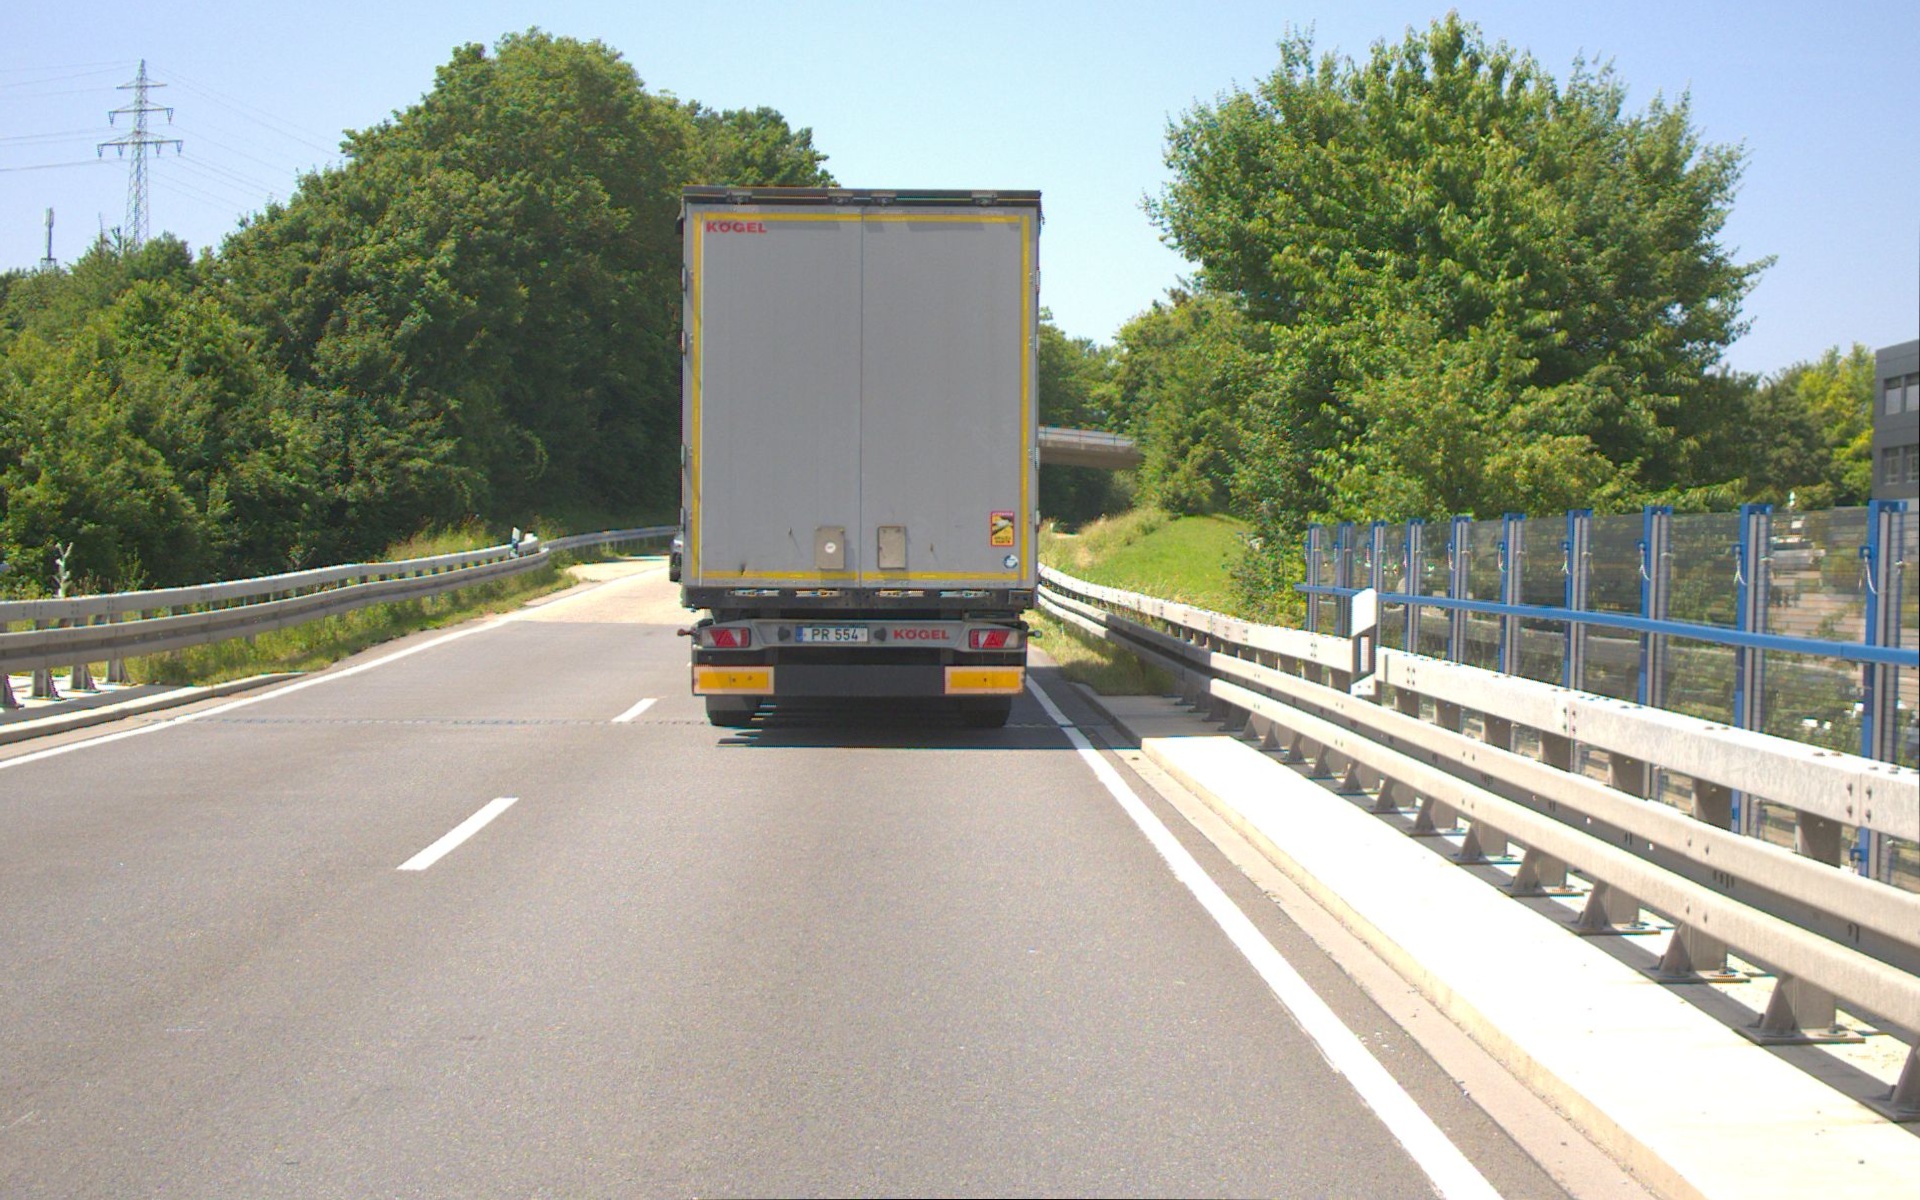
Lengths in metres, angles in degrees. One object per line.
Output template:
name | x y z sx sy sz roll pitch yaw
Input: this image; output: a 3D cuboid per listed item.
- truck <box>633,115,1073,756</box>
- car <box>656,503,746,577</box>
truck | -0.849 -1.328 28.984 2.866 4.344 9.790 3 2 -1
car | -5.905 -1.379 78.692 1.865 1.605 4.373 1 1 -2
